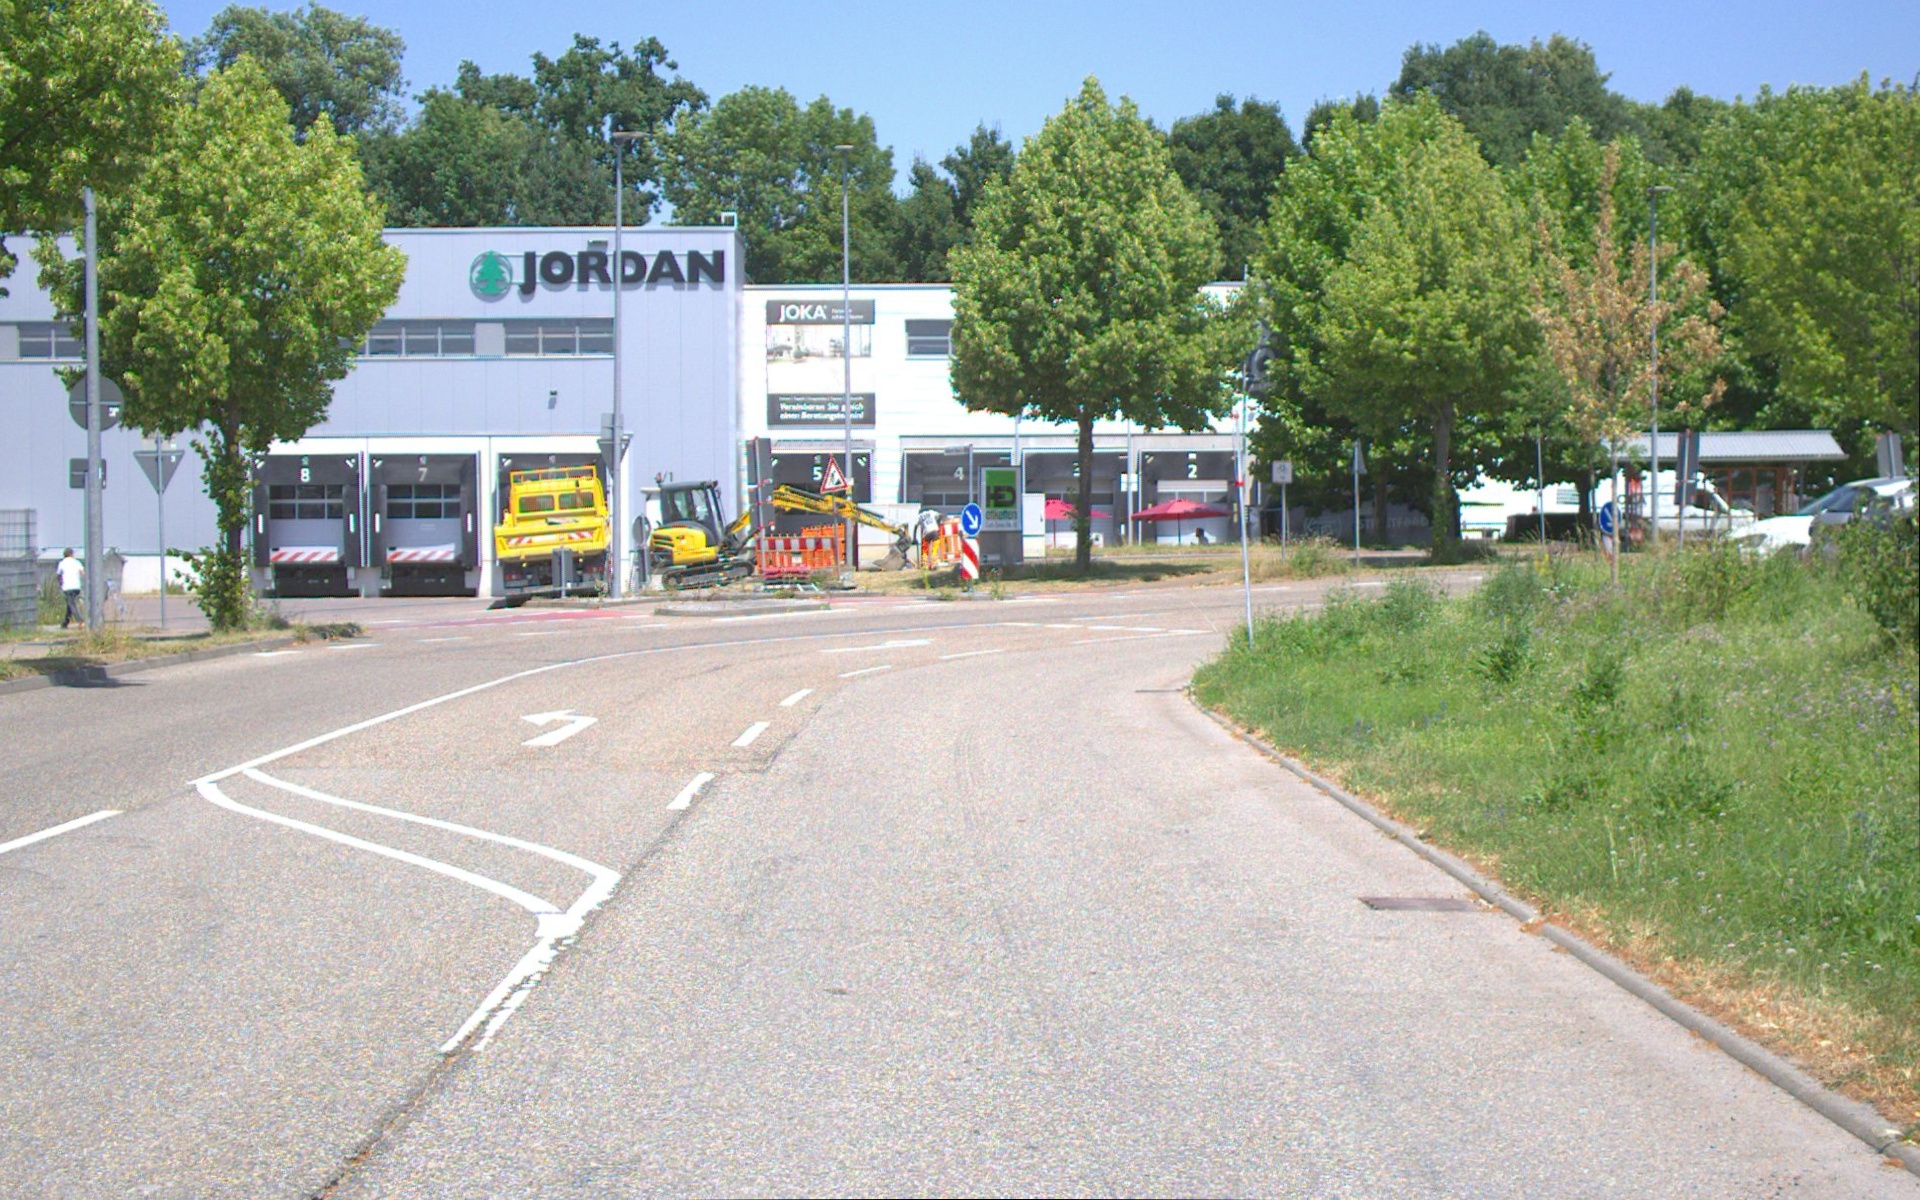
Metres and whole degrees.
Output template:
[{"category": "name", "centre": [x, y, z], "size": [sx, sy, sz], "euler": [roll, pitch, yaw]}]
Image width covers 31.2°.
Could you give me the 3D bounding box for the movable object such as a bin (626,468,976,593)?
[{"category": "movable object such as a bin", "centre": [-3.614, -1.633, 79.760], "size": [7.528, 2.491, 3.666], "euler": [-1, 5, 8]}]

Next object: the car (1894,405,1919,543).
[{"category": "car", "centre": [11.996, -1.351, 35.508], "size": [4.162, 1.395, 1.769], "euler": [-2, 5, -4]}]

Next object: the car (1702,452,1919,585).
[{"category": "car", "centre": [11.260, -1.024, 41.467], "size": [4.162, 1.395, 1.769], "euler": [-2, 5, -4]}]

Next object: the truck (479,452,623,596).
[{"category": "truck", "centre": [-9.492, -1.826, 79.364], "size": [2.938, 2.875, 5.812], "euler": [-3, 5, -9]}]

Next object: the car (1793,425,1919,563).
[{"category": "car", "centre": [11.659, -1.255, 38.523], "size": [4.162, 1.395, 1.769], "euler": [-2, 5, -4]}]

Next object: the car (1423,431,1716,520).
[{"category": "car", "centre": [15.600, -3.179, 88.278], "size": [7.172, 2.080, 2.000], "euler": [-1, 1, 3]}]

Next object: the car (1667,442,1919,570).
[{"category": "car", "centre": [11.230, -1.222, 43.449], "size": [4.162, 1.395, 1.769], "euler": [-2, 5, -4]}]
